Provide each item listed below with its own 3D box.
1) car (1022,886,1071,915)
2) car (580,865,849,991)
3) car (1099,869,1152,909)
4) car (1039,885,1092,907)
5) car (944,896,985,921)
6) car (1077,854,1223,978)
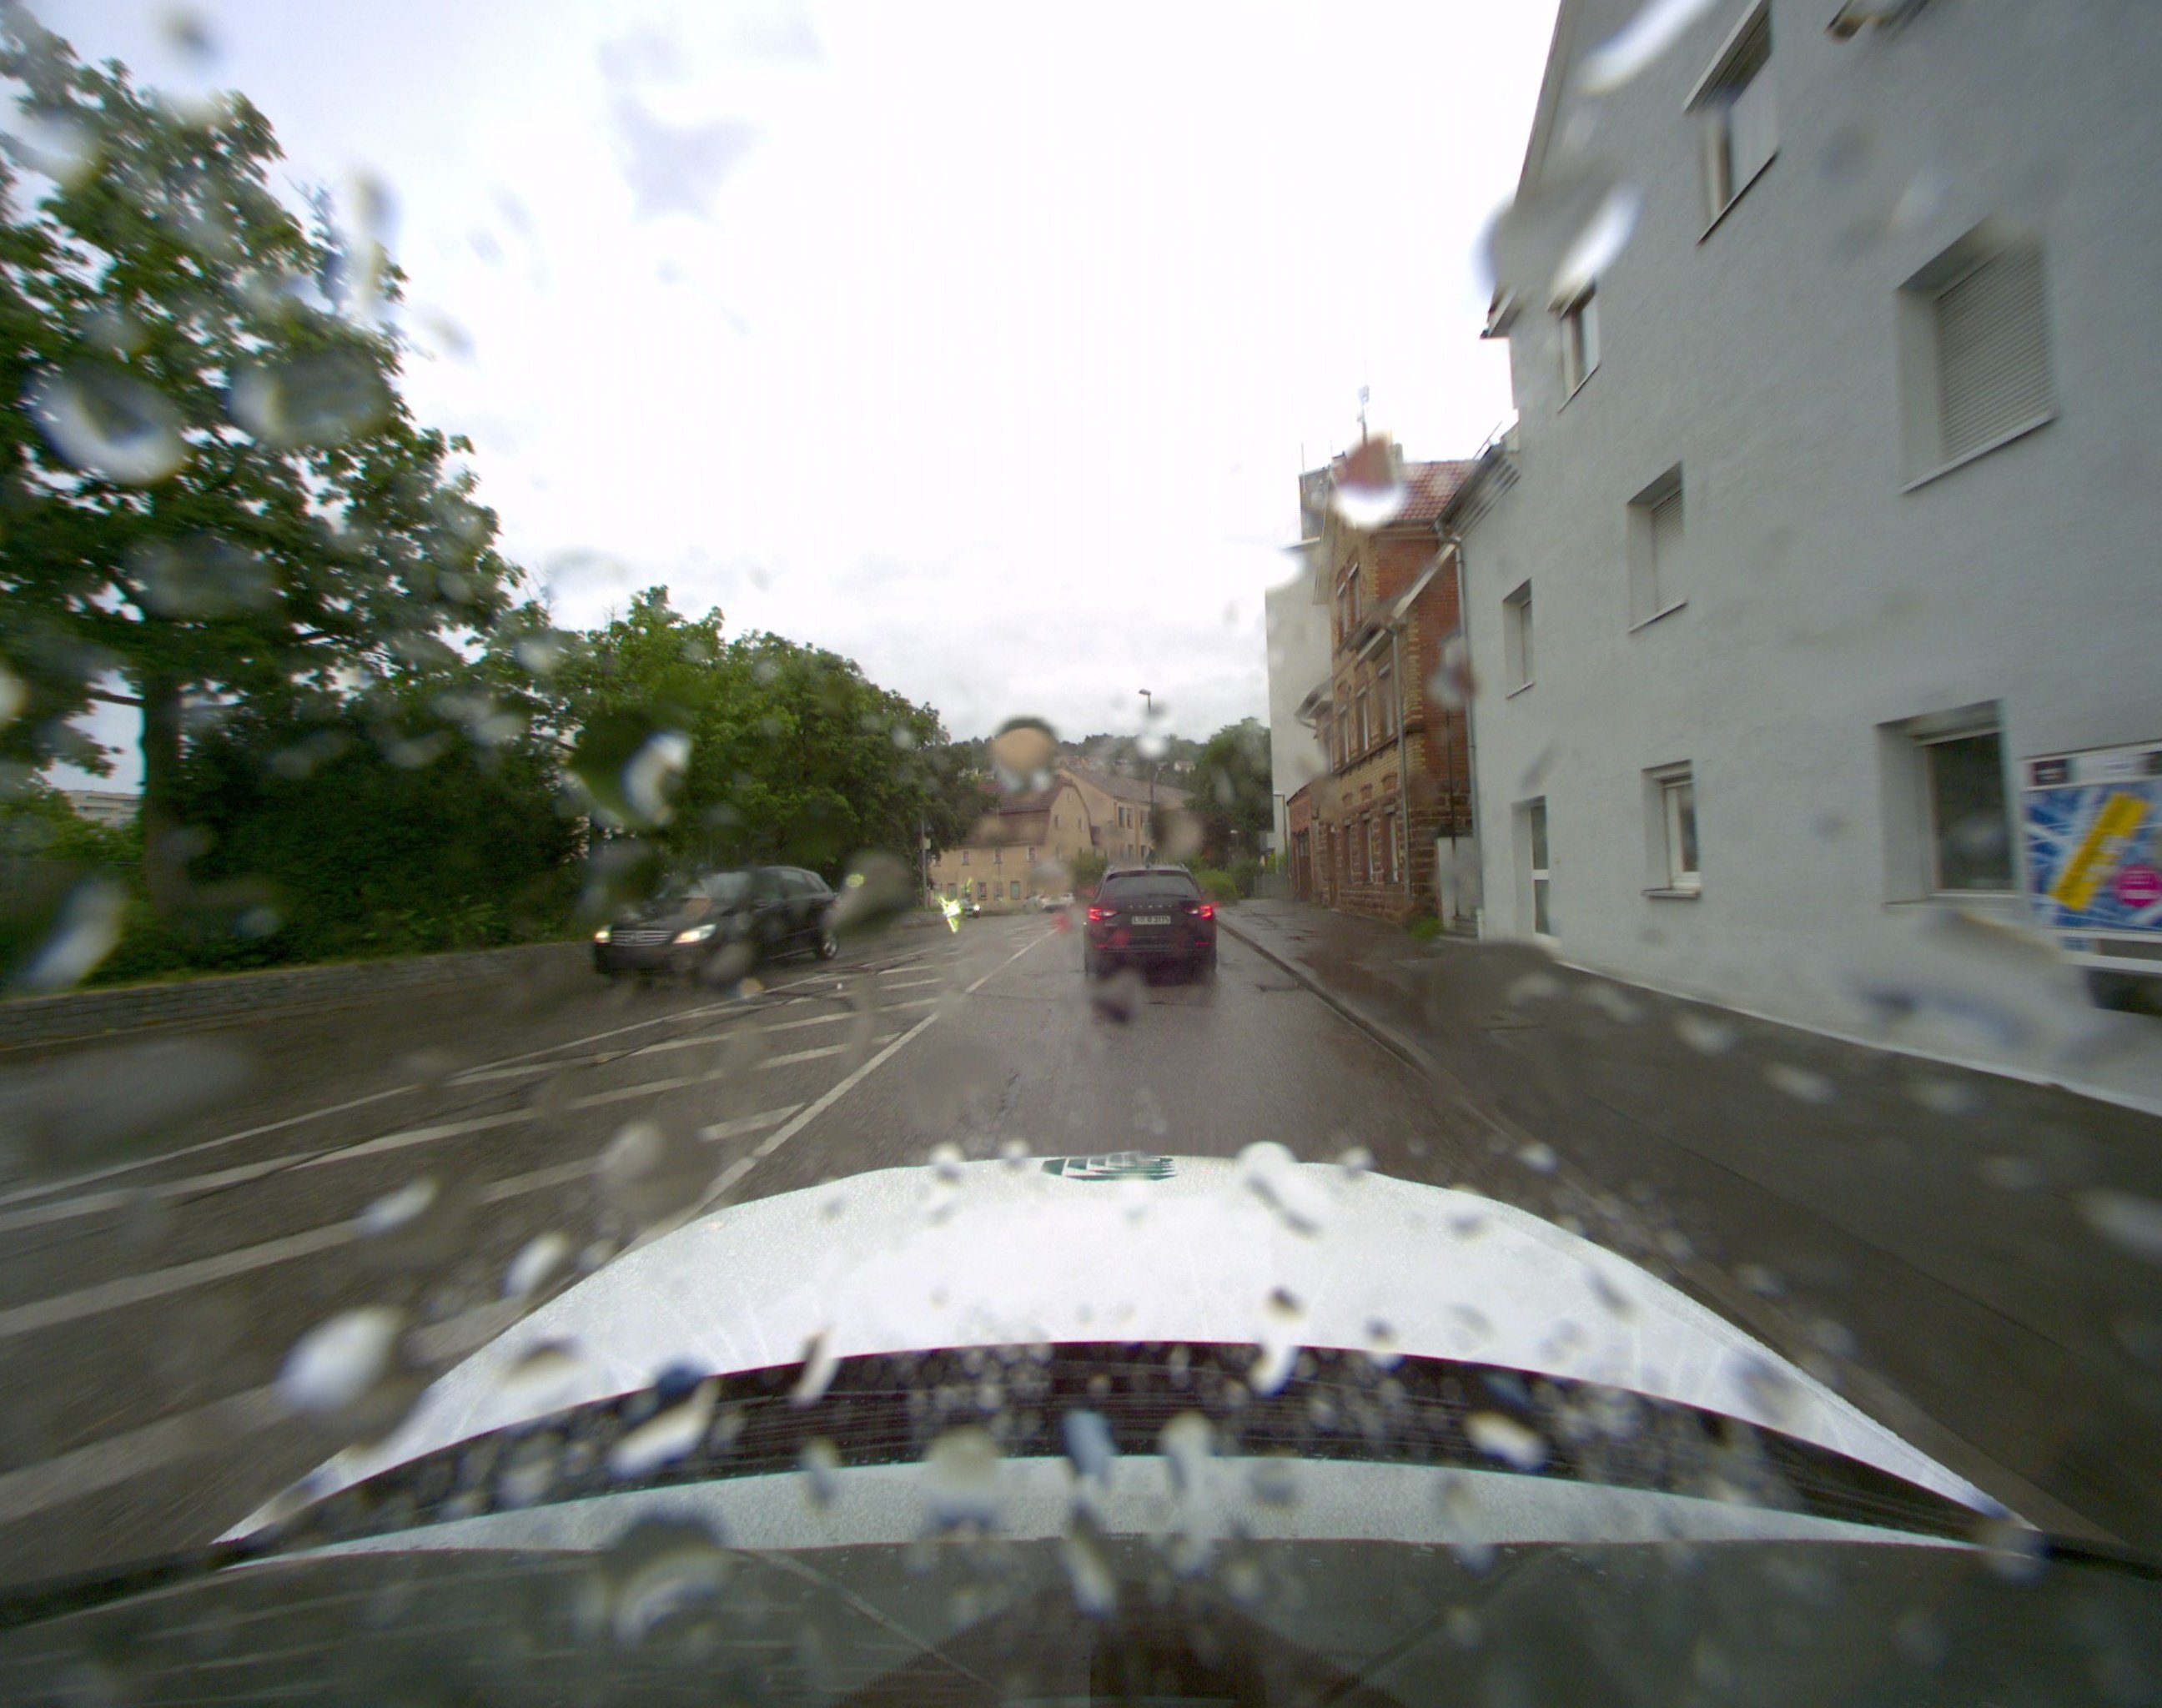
[{"bbox_3d":[-2.034,2.697,47.059,1.733,1.591,4.156,1,-4,-19],"label":"car"},{"bbox_3d":[-5.170,0.960,12.187,1.630,1.521,4.081,-1,-1,10],"label":"car"},{"bbox_3d":[1.689,1.333,30.857,1.810,1.360,3.992,-2,-2,3],"label":"car"},{"bbox_3d":[-1.196,3.319,64.366,3.767,1.453,1.699,-3,-3,-23],"label":"car"},{"bbox_3d":[-7.253,3.350,50.476,1.741,1.411,4.026,-1,-3,-20],"label":"car"},{"bbox_3d":[0.860,0.848,12.378,1.776,1.483,4.244,-2,-2,-1],"label":"car"}]
